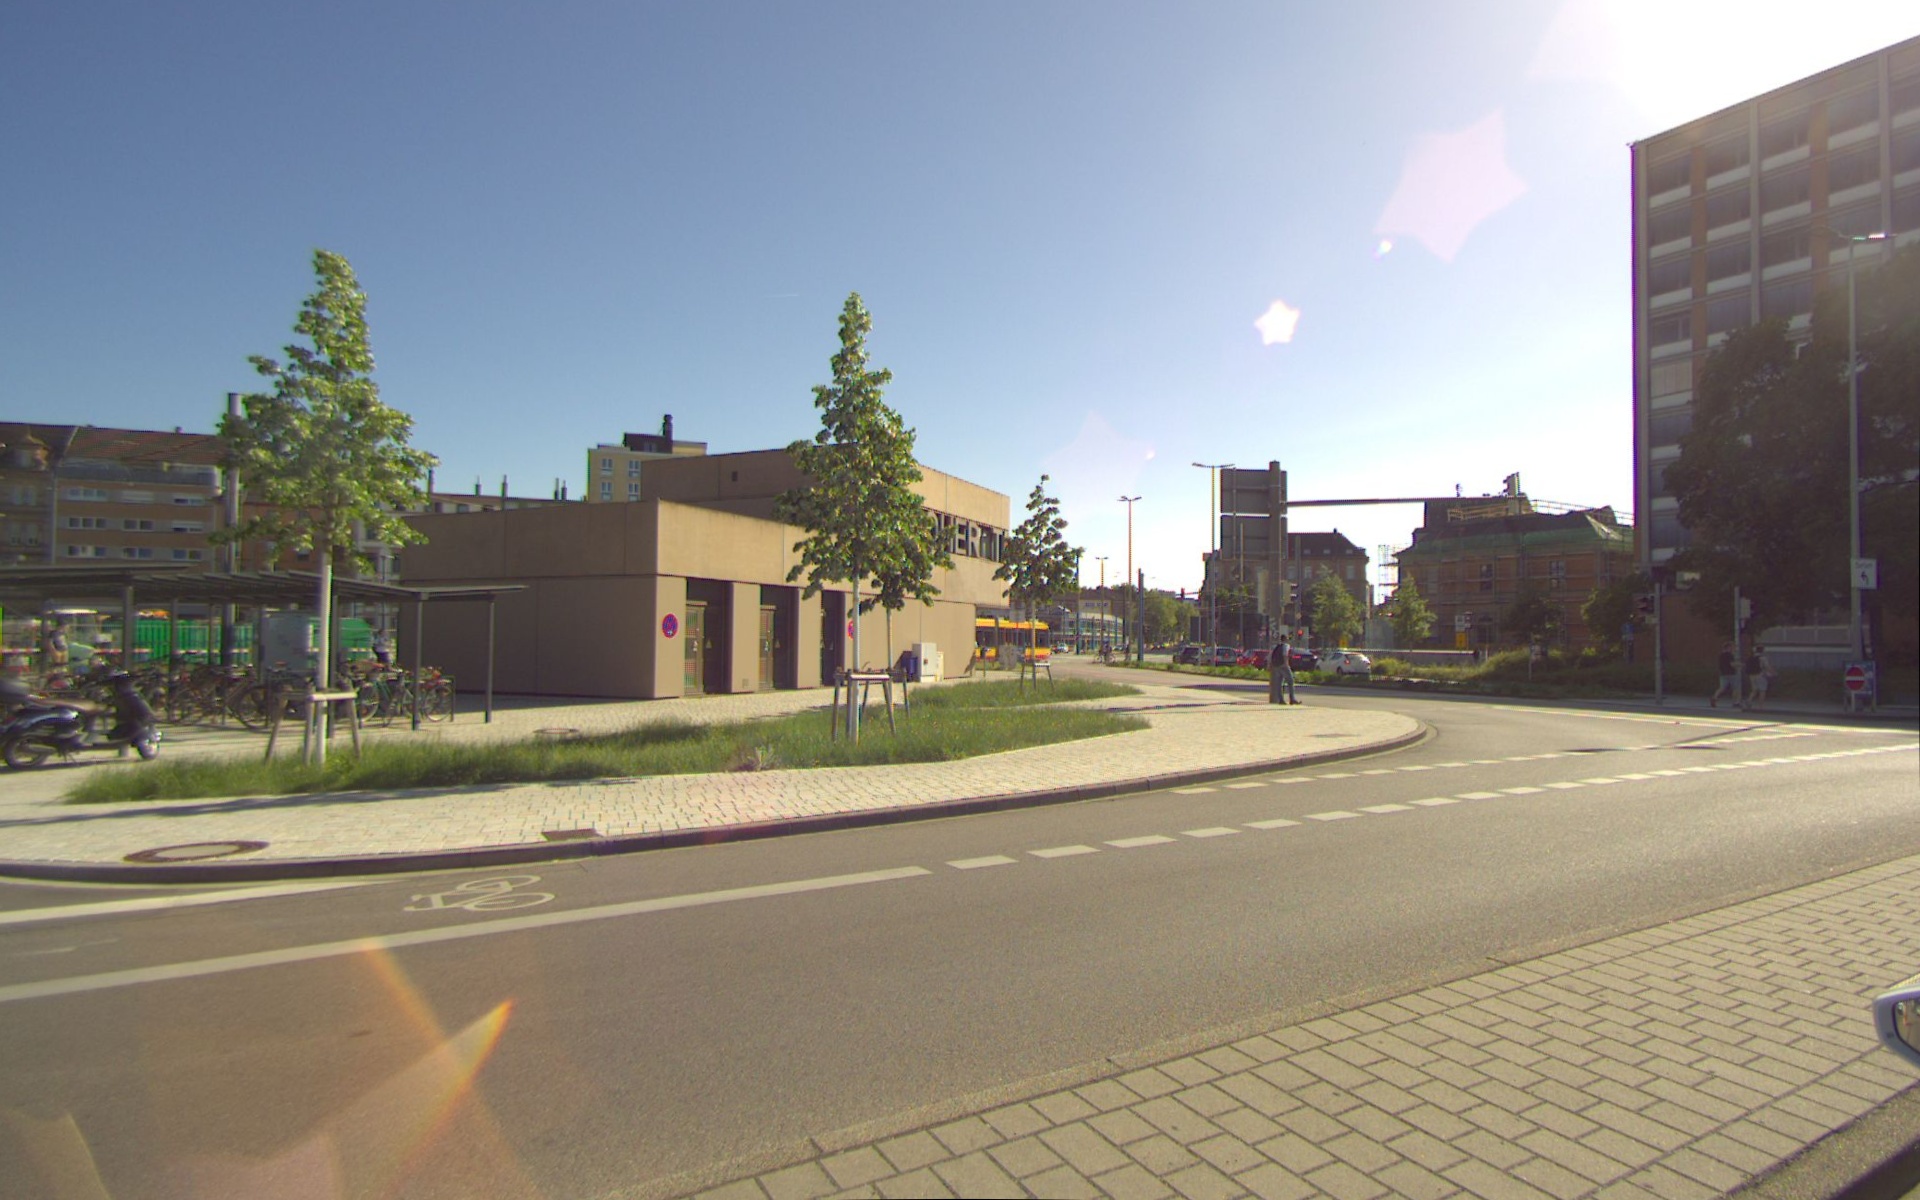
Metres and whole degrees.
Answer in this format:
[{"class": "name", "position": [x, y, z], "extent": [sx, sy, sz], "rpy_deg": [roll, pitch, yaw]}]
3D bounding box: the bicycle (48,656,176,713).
[{"class": "bicycle", "position": [-16.696, 1.642, 19.834], "extent": [0.449, 1.022, 1.902], "rpy_deg": [0, -2, 26]}]

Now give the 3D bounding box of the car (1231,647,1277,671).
[{"class": "car", "position": [20.213, 4.033, 69.246], "extent": [1.760, 1.528, 3.880], "rpy_deg": [1, -2, -6]}]

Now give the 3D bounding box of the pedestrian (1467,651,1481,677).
[{"class": "pedestrian", "position": [35.812, 4.444, 69.977], "extent": [0.754, 1.753, 0.675], "rpy_deg": [2, -2, -39]}]

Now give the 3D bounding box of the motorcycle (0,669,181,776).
[{"class": "motorcycle", "position": [-10.916, 1.478, 12.465], "extent": [0.508, 1.166, 1.947], "rpy_deg": [0, -2, 25]}]

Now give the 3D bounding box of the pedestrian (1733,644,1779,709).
[{"class": "pedestrian", "position": [21.878, 2.097, 27.625], "extent": [0.748, 1.753, 0.680], "rpy_deg": [1, -2, -16]}]

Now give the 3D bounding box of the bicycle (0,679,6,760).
[{"class": "bicycle", "position": [-12.742, 1.488, 11.999], "extent": [0.449, 1.022, 1.902], "rpy_deg": [0, -2, 26]}]

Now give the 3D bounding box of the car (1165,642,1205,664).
[{"class": "car", "position": [16.784, 3.930, 74.993], "extent": [1.760, 1.528, 3.880], "rpy_deg": [1, -2, -6]}]

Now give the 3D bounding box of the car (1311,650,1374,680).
[{"class": "car", "position": [21.256, 3.595, 55.929], "extent": [1.760, 1.528, 3.880], "rpy_deg": [1, -2, -6]}]

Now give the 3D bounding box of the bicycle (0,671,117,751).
[{"class": "bicycle", "position": [-13.026, 1.540, 14.010], "extent": [0.449, 1.022, 1.902], "rpy_deg": [0, -2, 26]}]

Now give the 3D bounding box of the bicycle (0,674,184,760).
[{"class": "bicycle", "position": [-11.811, 1.559, 13.719], "extent": [0.449, 1.022, 1.902], "rpy_deg": [0, -2, 26]}]

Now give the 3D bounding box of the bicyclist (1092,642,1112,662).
[{"class": "bicyclist", "position": [12.005, 4.398, 84.849], "extent": [1.544, 1.655, 0.811], "rpy_deg": [2, 0, 10]}]

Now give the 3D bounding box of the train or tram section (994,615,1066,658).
[{"class": "train or tram section", "position": [6.086, 2.976, 85.025], "extent": [2.649, 3.275, 10.595], "rpy_deg": [2, 0, 24]}]

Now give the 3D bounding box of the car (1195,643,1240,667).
[{"class": "car", "position": [17.465, 3.695, 68.266], "extent": [1.760, 1.528, 3.880], "rpy_deg": [1, -2, -6]}]

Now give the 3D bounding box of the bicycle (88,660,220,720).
[{"class": "bicycle", "position": [-15.078, 1.659, 18.860], "extent": [0.449, 1.022, 1.902], "rpy_deg": [0, -2, 26]}]

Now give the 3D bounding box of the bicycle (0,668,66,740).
[{"class": "bicycle", "position": [-14.155, 1.511, 14.441], "extent": [0.449, 1.022, 1.902], "rpy_deg": [0, -2, 26]}]

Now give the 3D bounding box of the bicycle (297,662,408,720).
[{"class": "bicycle", "position": [-11.793, 1.746, 19.572], "extent": [0.449, 1.022, 1.902], "rpy_deg": [0, -2, 26]}]

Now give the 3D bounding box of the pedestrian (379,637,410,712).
[{"class": "pedestrian", "position": [-15.655, 2.044, 27.813], "extent": [0.710, 2.040, 0.682], "rpy_deg": [2, -3, -30]}]

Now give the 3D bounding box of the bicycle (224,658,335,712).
[{"class": "bicycle", "position": [-14.069, 1.731, 20.824], "extent": [0.449, 1.022, 1.902], "rpy_deg": [0, -2, 26]}]

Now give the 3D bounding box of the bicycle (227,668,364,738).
[{"class": "bicycle", "position": [-10.907, 1.665, 16.565], "extent": [0.449, 1.022, 1.902], "rpy_deg": [0, -2, 26]}]

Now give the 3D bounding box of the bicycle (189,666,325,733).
[{"class": "bicycle", "position": [-11.885, 1.655, 17.055], "extent": [0.449, 1.022, 1.902], "rpy_deg": [0, -2, 26]}]

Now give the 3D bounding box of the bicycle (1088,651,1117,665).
[{"class": "bicycle", "position": [12.018, 4.914, 84.849], "extent": [2.370, 1.076, 0.811], "rpy_deg": [2, 0, 11]}]

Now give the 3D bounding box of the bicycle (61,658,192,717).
[{"class": "bicycle", "position": [-15.914, 1.647, 19.235], "extent": [0.449, 1.022, 1.902], "rpy_deg": [0, -2, 26]}]

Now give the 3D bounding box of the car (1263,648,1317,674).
[{"class": "car", "position": [20.583, 3.769, 62.785], "extent": [1.760, 1.528, 3.880], "rpy_deg": [1, -2, -6]}]

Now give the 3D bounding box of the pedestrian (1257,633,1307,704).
[{"class": "pedestrian", "position": [8.178, 1.723, 25.509], "extent": [1.044, 1.753, 0.652], "rpy_deg": [1, -2, -16]}]

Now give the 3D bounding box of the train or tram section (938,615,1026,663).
[{"class": "train or tram section", "position": [1.822, 2.799, 75.268], "extent": [2.649, 3.275, 10.595], "rpy_deg": [2, 0, 24]}]

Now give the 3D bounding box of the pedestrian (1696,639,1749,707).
[{"class": "pedestrian", "position": [21.621, 2.052, 28.491], "extent": [0.895, 1.887, 0.813], "rpy_deg": [1, -2, -16]}]

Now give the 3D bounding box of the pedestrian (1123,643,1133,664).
[{"class": "pedestrian", "position": [13.847, 4.409, 82.887], "extent": [0.761, 1.786, 0.706], "rpy_deg": [0, -2, 9]}]

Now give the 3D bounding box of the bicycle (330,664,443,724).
[{"class": "bicycle", "position": [-10.704, 1.737, 18.815], "extent": [0.449, 1.022, 1.902], "rpy_deg": [0, -2, 26]}]

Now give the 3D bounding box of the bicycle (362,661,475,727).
[{"class": "bicycle", "position": [-9.924, 1.700, 18.485], "extent": [0.449, 1.112, 1.902], "rpy_deg": [0, -2, 26]}]

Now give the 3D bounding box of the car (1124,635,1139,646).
[{"class": "car", "position": [34.613, 8.136, 202.662], "extent": [1.961, 2.040, 3.998], "rpy_deg": [2, 0, 23]}]

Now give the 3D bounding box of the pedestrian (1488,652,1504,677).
[{"class": "pedestrian", "position": [37.405, 4.481, 70.104], "extent": [0.752, 1.753, 0.677], "rpy_deg": [2, -2, -32]}]

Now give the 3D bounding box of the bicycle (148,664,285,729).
[{"class": "bicycle", "position": [-12.895, 1.651, 17.485], "extent": [0.449, 1.022, 1.902], "rpy_deg": [0, -2, 26]}]
